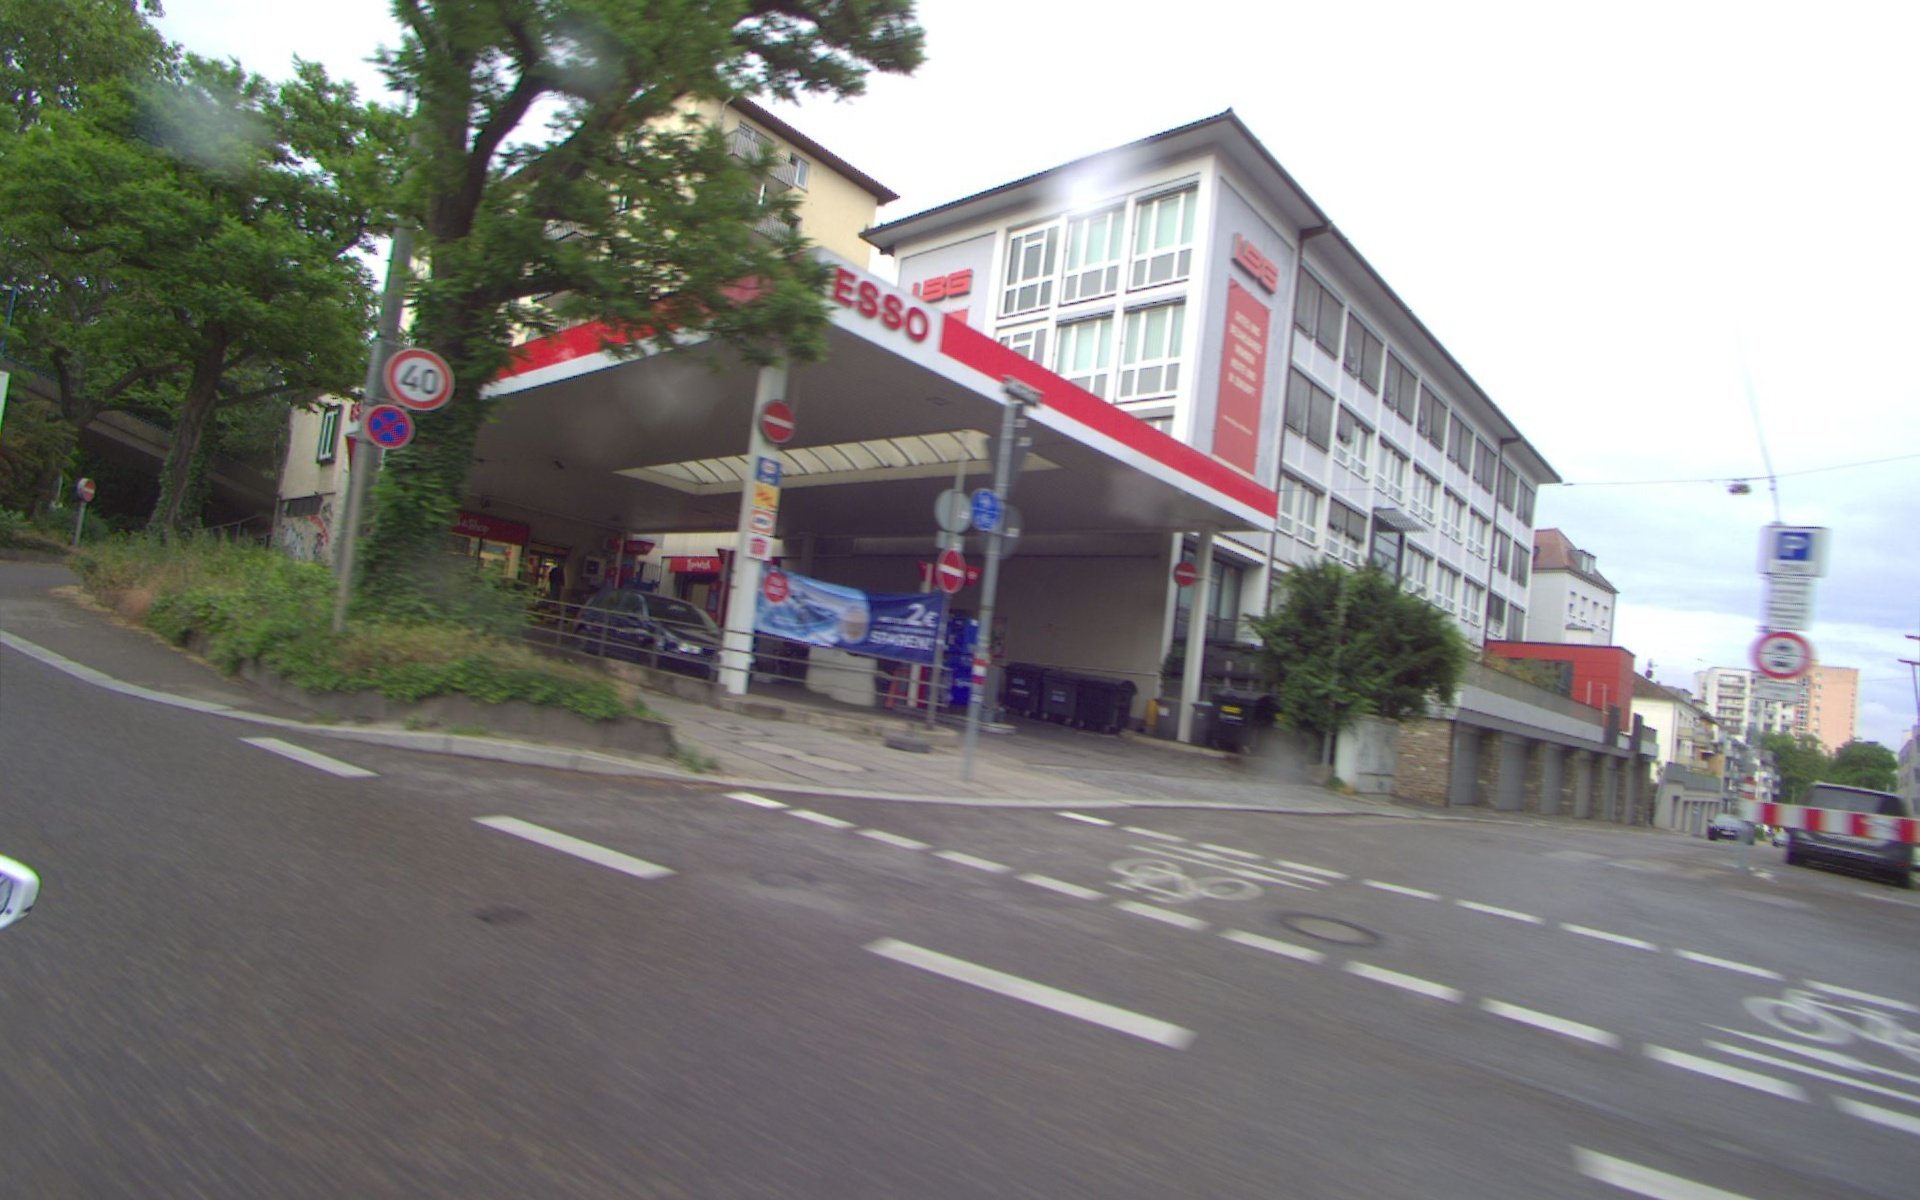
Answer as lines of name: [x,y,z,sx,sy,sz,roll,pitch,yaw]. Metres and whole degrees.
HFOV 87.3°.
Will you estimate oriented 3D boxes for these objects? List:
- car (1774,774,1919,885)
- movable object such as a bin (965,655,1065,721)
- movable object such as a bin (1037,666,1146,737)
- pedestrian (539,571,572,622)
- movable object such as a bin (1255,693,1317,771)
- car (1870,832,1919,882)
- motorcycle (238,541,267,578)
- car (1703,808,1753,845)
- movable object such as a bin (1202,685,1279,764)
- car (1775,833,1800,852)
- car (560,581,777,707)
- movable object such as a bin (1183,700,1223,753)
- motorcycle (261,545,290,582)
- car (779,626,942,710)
car: [16.823,4.351,19.065,1.776,1.525,3.988,7,-6,44]
movable object such as a bin: [1.538,2.462,28.311,2.474,1.441,1.162,6,-4,42]
movable object such as a bin: [3.451,2.657,26.539,2.474,1.441,1.162,6,-4,42]
pedestrian: [-16.229,-0.138,40.356,0.660,1.888,0.689,9,-5,5]
movable object such as a bin: [7.330,2.965,22.616,0.901,1.582,0.764,6,-3,42]
car: [35.997,9.844,38.398,1.777,1.524,4.488,4,-8,43]
motorcycle: [-26.203,-1.501,37.257,0.532,1.205,1.743,8,-1,-42]
car: [40.503,11.962,53.041,1.775,1.524,4.491,5,-8,41]
movable object such as a bin: [6.504,2.884,23.369,1.342,1.582,0.764,6,-3,42]
car: [82.715,24.268,100.522,1.775,1.524,4.491,5,-8,41]
car: [-5.017,0.692,17.039,1.769,1.642,3.818,9,-3,-44]
movable object such as a bin: [5.841,3.042,24.151,0.651,1.153,0.453,6,-3,42]
motorcycle: [-25.367,-1.359,37.256,0.532,1.205,1.743,8,-1,-42]
car: [-2.584,1.702,25.606,3.947,1.524,1.795,4,-8,43]
